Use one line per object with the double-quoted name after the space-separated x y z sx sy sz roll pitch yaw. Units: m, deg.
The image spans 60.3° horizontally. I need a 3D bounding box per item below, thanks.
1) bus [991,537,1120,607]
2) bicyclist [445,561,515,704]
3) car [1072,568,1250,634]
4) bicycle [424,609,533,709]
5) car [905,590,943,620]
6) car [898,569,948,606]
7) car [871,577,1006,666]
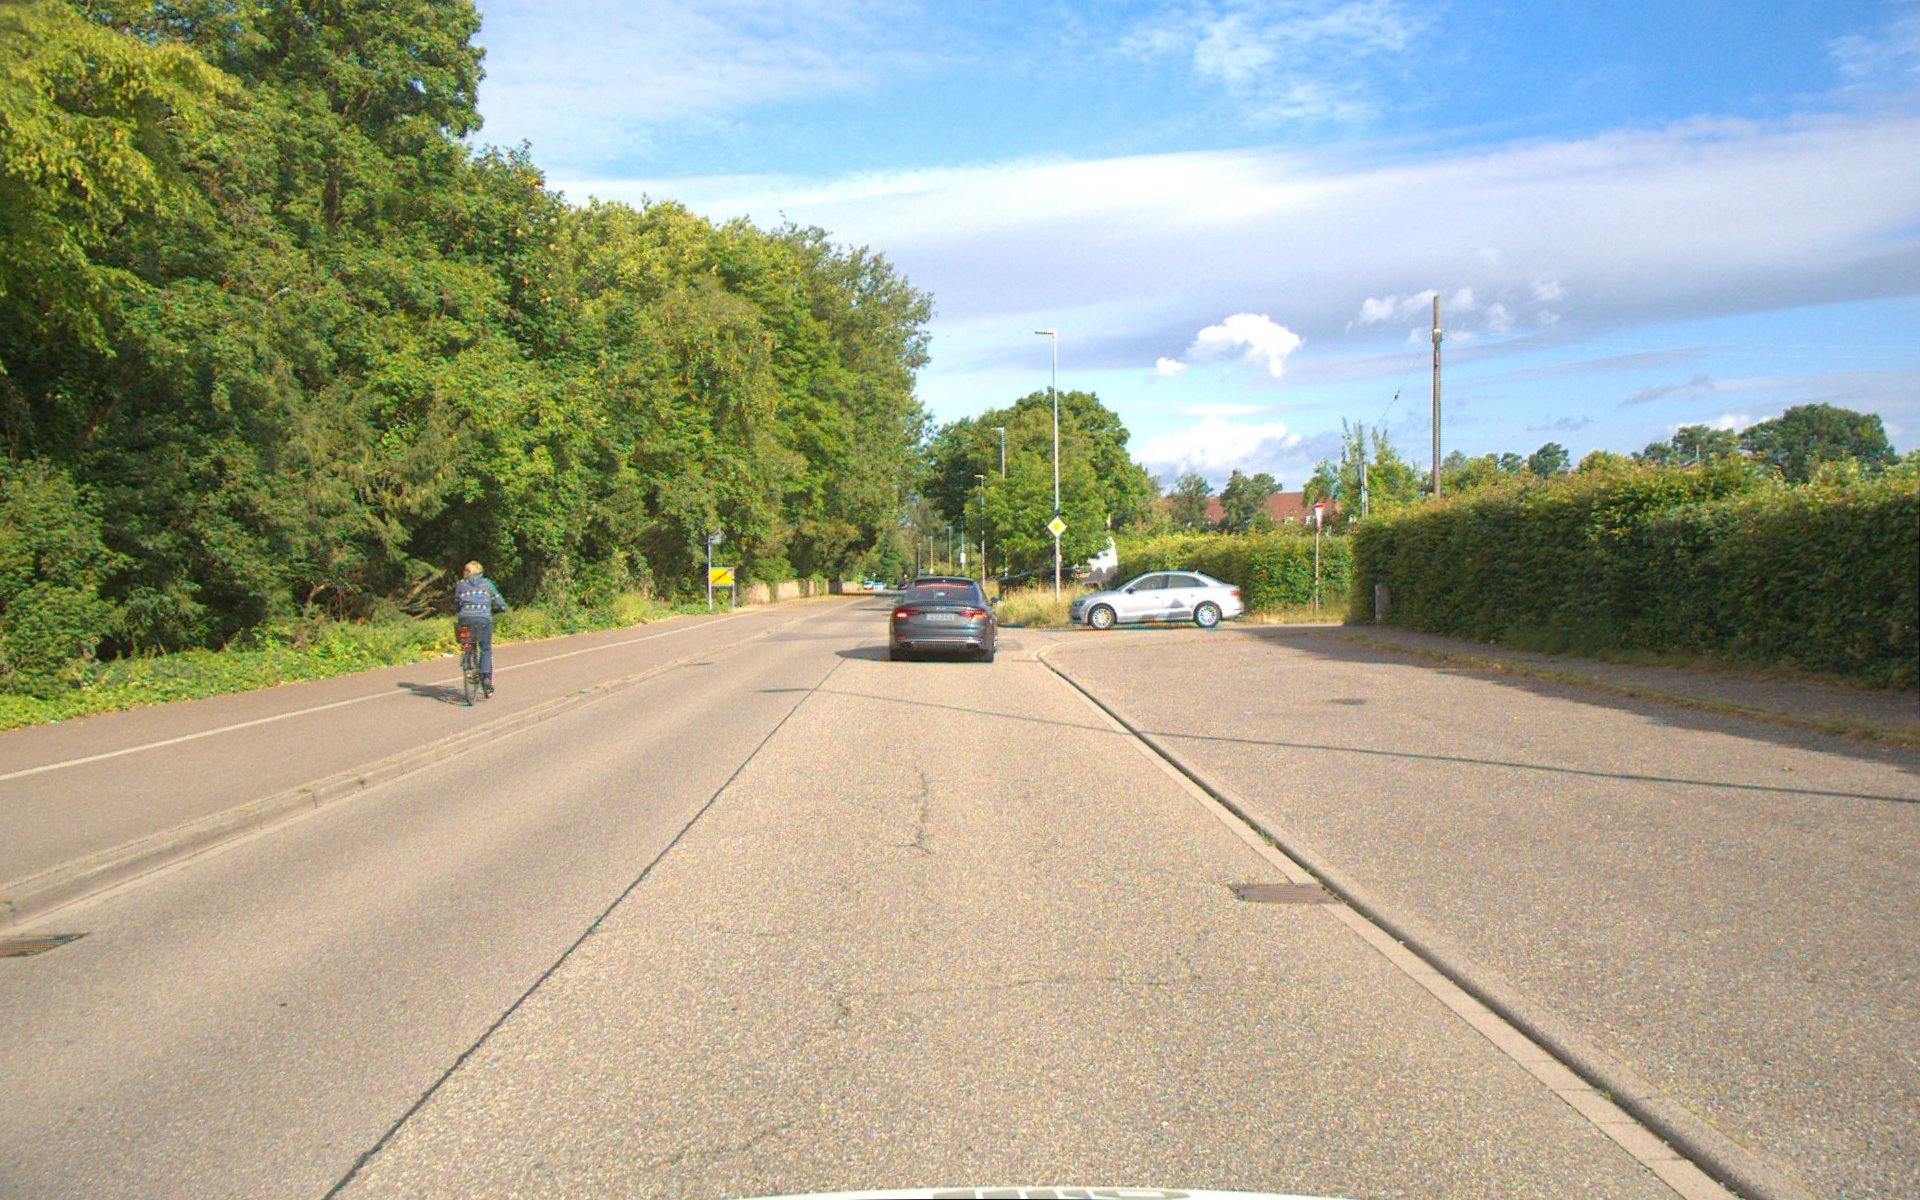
4.066 -1.213 71.261 5.260 2.794 2.067 -2 1 -4 "bus"
-5.853 0.380 20.209 0.596 1.706 0.883 1 0 -1 "bicyclist"
5.000 0.025 41.395 4.270 1.468 1.934 -2 0 5 "car"
-5.844 0.685 20.228 0.649 1.116 2.348 1 0 -1 "bicycle"
-1.863 0.234 84.334 1.848 1.490 4.053 -1 0 -2 "car"
-1.466 -0.485 64.510 1.848 1.396 4.053 -1 0 -2 "car"
-0.295 0.330 29.408 1.924 1.459 4.339 0 1 6 "car"
